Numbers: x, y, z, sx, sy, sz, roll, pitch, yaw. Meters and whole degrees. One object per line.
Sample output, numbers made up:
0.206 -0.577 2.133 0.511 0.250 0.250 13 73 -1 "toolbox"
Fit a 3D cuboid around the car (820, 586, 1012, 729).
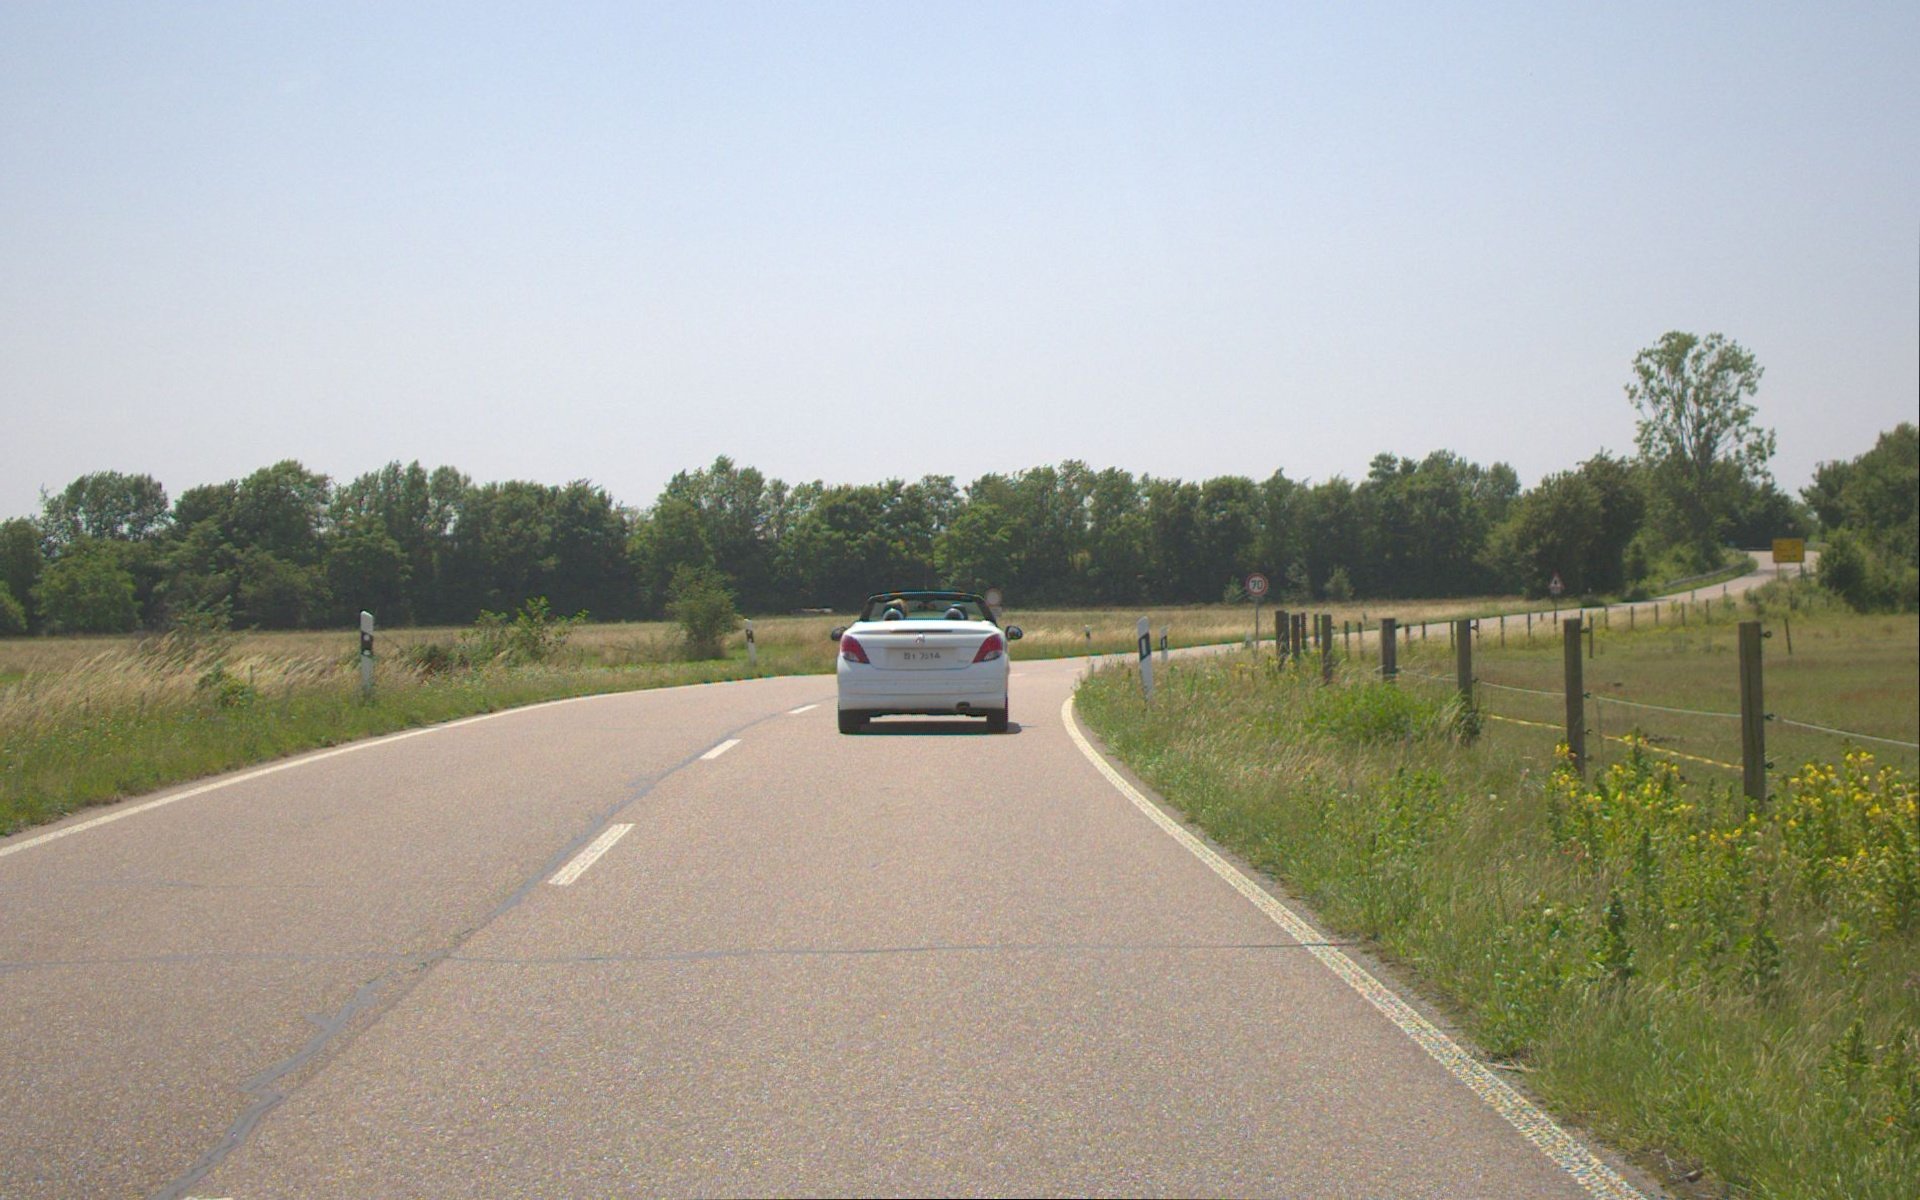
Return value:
-0.411 0.550 35.109 1.851 1.375 4.000 0 0 0 "car"
